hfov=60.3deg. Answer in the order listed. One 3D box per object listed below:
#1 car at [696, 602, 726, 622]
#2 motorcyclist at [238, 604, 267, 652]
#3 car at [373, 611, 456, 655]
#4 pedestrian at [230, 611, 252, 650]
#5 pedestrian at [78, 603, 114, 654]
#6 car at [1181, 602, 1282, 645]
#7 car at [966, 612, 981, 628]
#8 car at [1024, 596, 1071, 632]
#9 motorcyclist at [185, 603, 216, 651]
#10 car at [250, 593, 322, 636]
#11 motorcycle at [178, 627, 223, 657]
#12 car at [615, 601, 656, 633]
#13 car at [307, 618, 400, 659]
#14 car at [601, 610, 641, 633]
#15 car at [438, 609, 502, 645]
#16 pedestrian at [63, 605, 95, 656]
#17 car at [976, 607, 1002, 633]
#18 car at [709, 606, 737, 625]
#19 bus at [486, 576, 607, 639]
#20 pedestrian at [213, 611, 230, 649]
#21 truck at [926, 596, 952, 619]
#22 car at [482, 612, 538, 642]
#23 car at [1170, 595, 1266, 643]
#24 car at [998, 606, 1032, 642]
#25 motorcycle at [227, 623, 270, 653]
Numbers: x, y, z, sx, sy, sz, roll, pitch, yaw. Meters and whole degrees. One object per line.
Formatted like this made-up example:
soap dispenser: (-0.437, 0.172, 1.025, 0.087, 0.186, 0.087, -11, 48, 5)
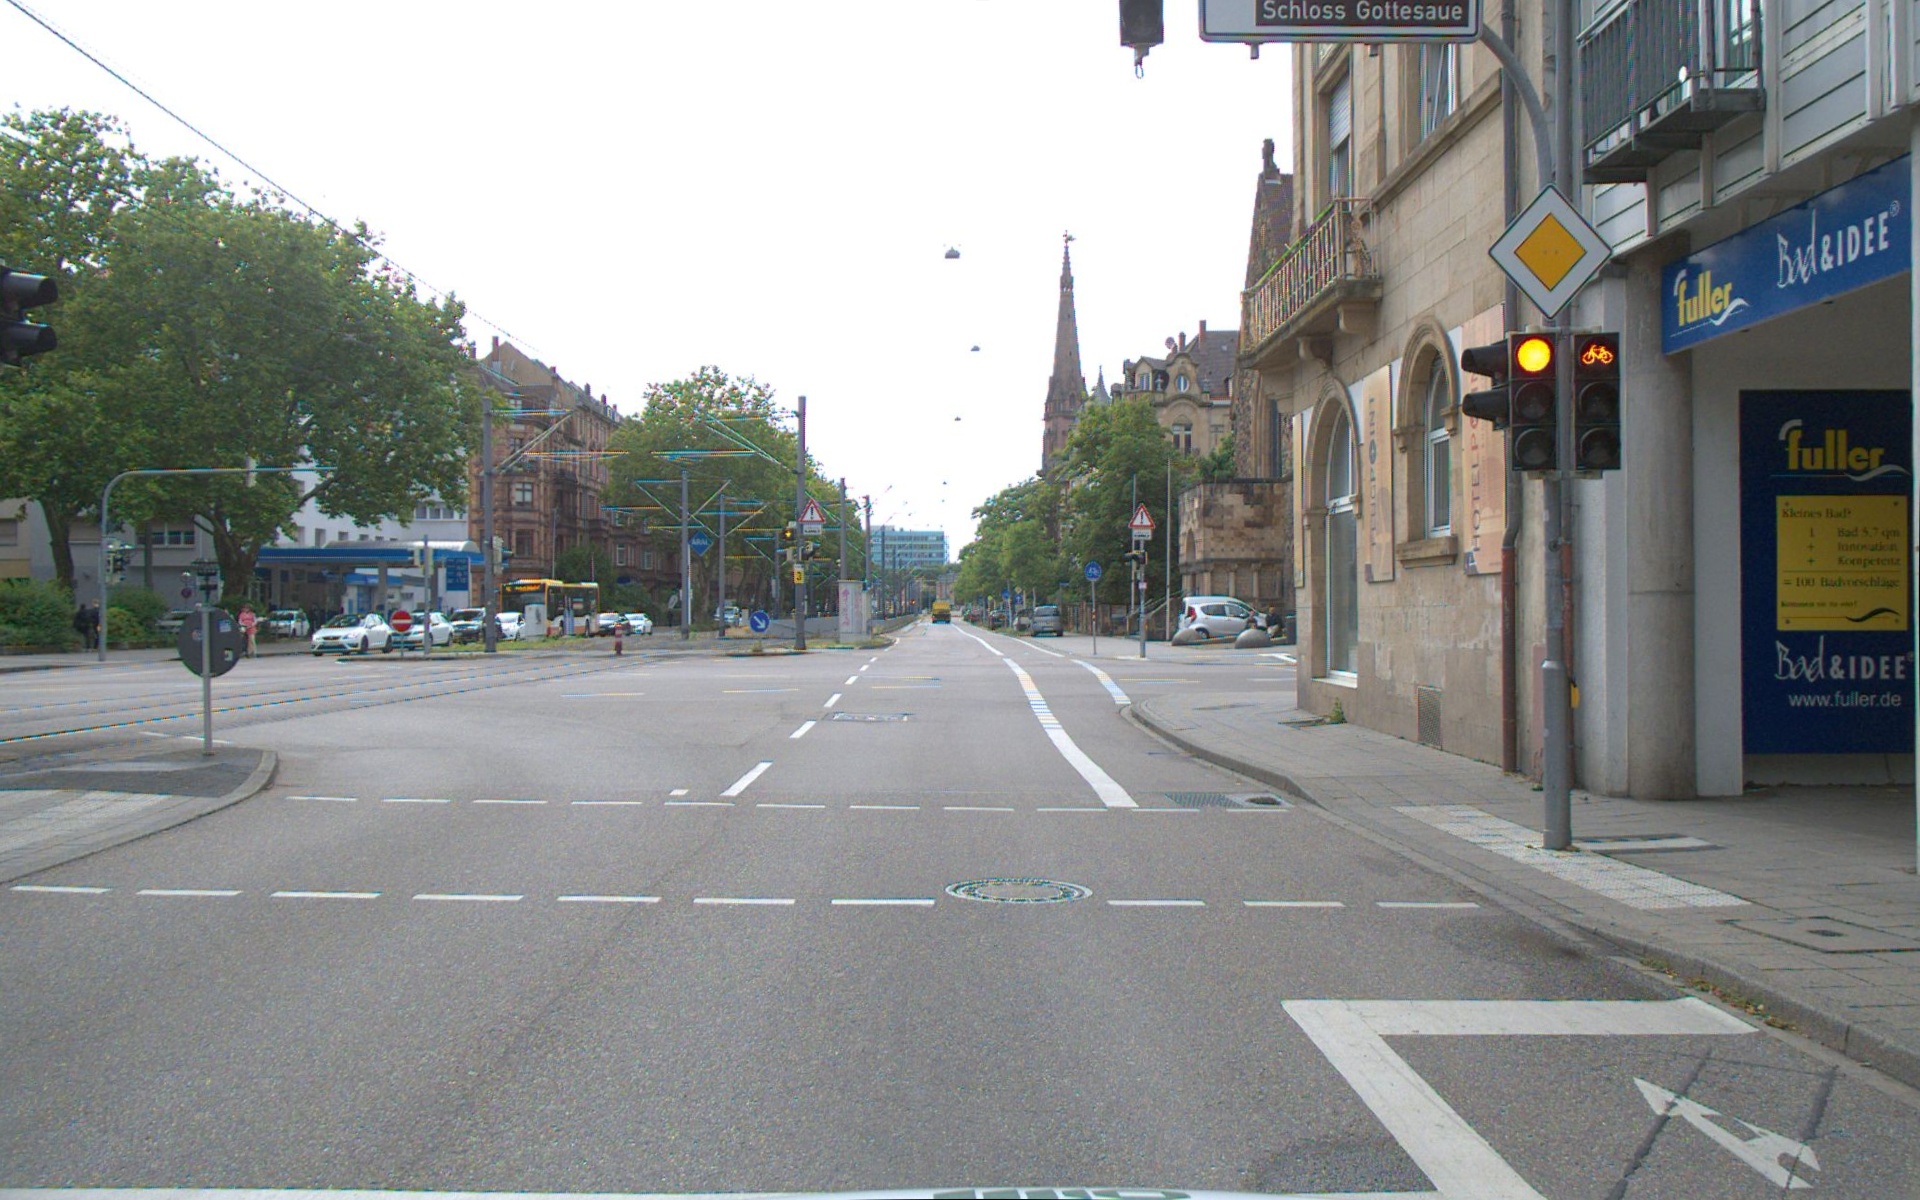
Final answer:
car: (-21.230, 1.022, 141.192, 1.953, 1.639, 3.999, 1, 0, -1)
motorcyclist: (-23.480, 0.923, 54.882, 0.607, 1.546, 0.873, 0, 0, -1)
car: (-21.429, 1.286, 65.138, 1.953, 1.622, 3.999, 1, 0, -1)
pedestrian: (-28.118, 1.200, 64.695, 0.634, 1.505, 0.557, 0, 0, -1)
pedestrian: (-29.981, 0.972, 57.404, 0.858, 1.743, 0.871, -1, -1, 41)
car: (10.669, 0.926, 65.097, 3.638, 1.591, 2.000, 1, 0, -1)
car: (1.757, 2.658, 216.834, 1.953, 2.049, 3.999, 1, 0, -1)
car: (4.809, 0.771, 90.058, 1.951, 1.888, 4.030, 1, 0, 12)
motorcyclist: (-24.730, 0.883, 53.854, 0.607, 1.546, 0.873, 0, 0, -1)
car: (-32.720, 0.694, 80.401, 1.953, 2.049, 3.999, 0, 0, -1)
motorcycle: (-24.741, 1.368, 53.908, 0.594, 0.945, 1.951, 0, 0, 0)
car: (-21.418, 1.131, 109.269, 1.953, 2.049, 3.999, 1, 0, -1)
car: (-21.442, 1.330, 58.604, 1.711, 1.344, 4.075, 1, 0, 1)
car: (-20.864, 1.304, 101.877, 1.622, 1.344, 3.638, 1, 0, 1)
car: (-21.229, 1.138, 71.791, 1.622, 1.504, 3.638, 1, 0, 1)
pedestrian: (-30.341, 1.038, 56.971, 0.852, 1.743, 0.688, 0, -1, 35)
car: (2.369, 1.626, 136.012, 1.953, 2.049, 3.999, 1, 0, -1)
car: (-21.347, 1.379, 149.001, 1.953, 1.639, 3.999, 1, 0, -1)
bus: (-21.973, 0.416, 88.764, 3.164, 3.088, 12.312, 1, 0, 1)
pedestrian: (-28.742, 1.168, 64.407, 0.466, 1.485, 0.426, 0, 0, -1)
truck: (-2.652, 0.973, 210.615, 2.992, 2.817, 9.817, 0, 0, 1)
car: (-21.386, 1.283, 78.710, 1.622, 1.344, 3.638, 1, 0, 1)
car: (10.685, 0.795, 68.568, 3.638, 1.888, 2.000, 1, 0, -1)
car: (3.281, 1.420, 99.657, 1.952, 2.049, 4.000, 1, 0, 1)
motorcycle: (-23.479, 1.247, 54.624, 0.594, 0.945, 1.951, 0, 0, 0)
